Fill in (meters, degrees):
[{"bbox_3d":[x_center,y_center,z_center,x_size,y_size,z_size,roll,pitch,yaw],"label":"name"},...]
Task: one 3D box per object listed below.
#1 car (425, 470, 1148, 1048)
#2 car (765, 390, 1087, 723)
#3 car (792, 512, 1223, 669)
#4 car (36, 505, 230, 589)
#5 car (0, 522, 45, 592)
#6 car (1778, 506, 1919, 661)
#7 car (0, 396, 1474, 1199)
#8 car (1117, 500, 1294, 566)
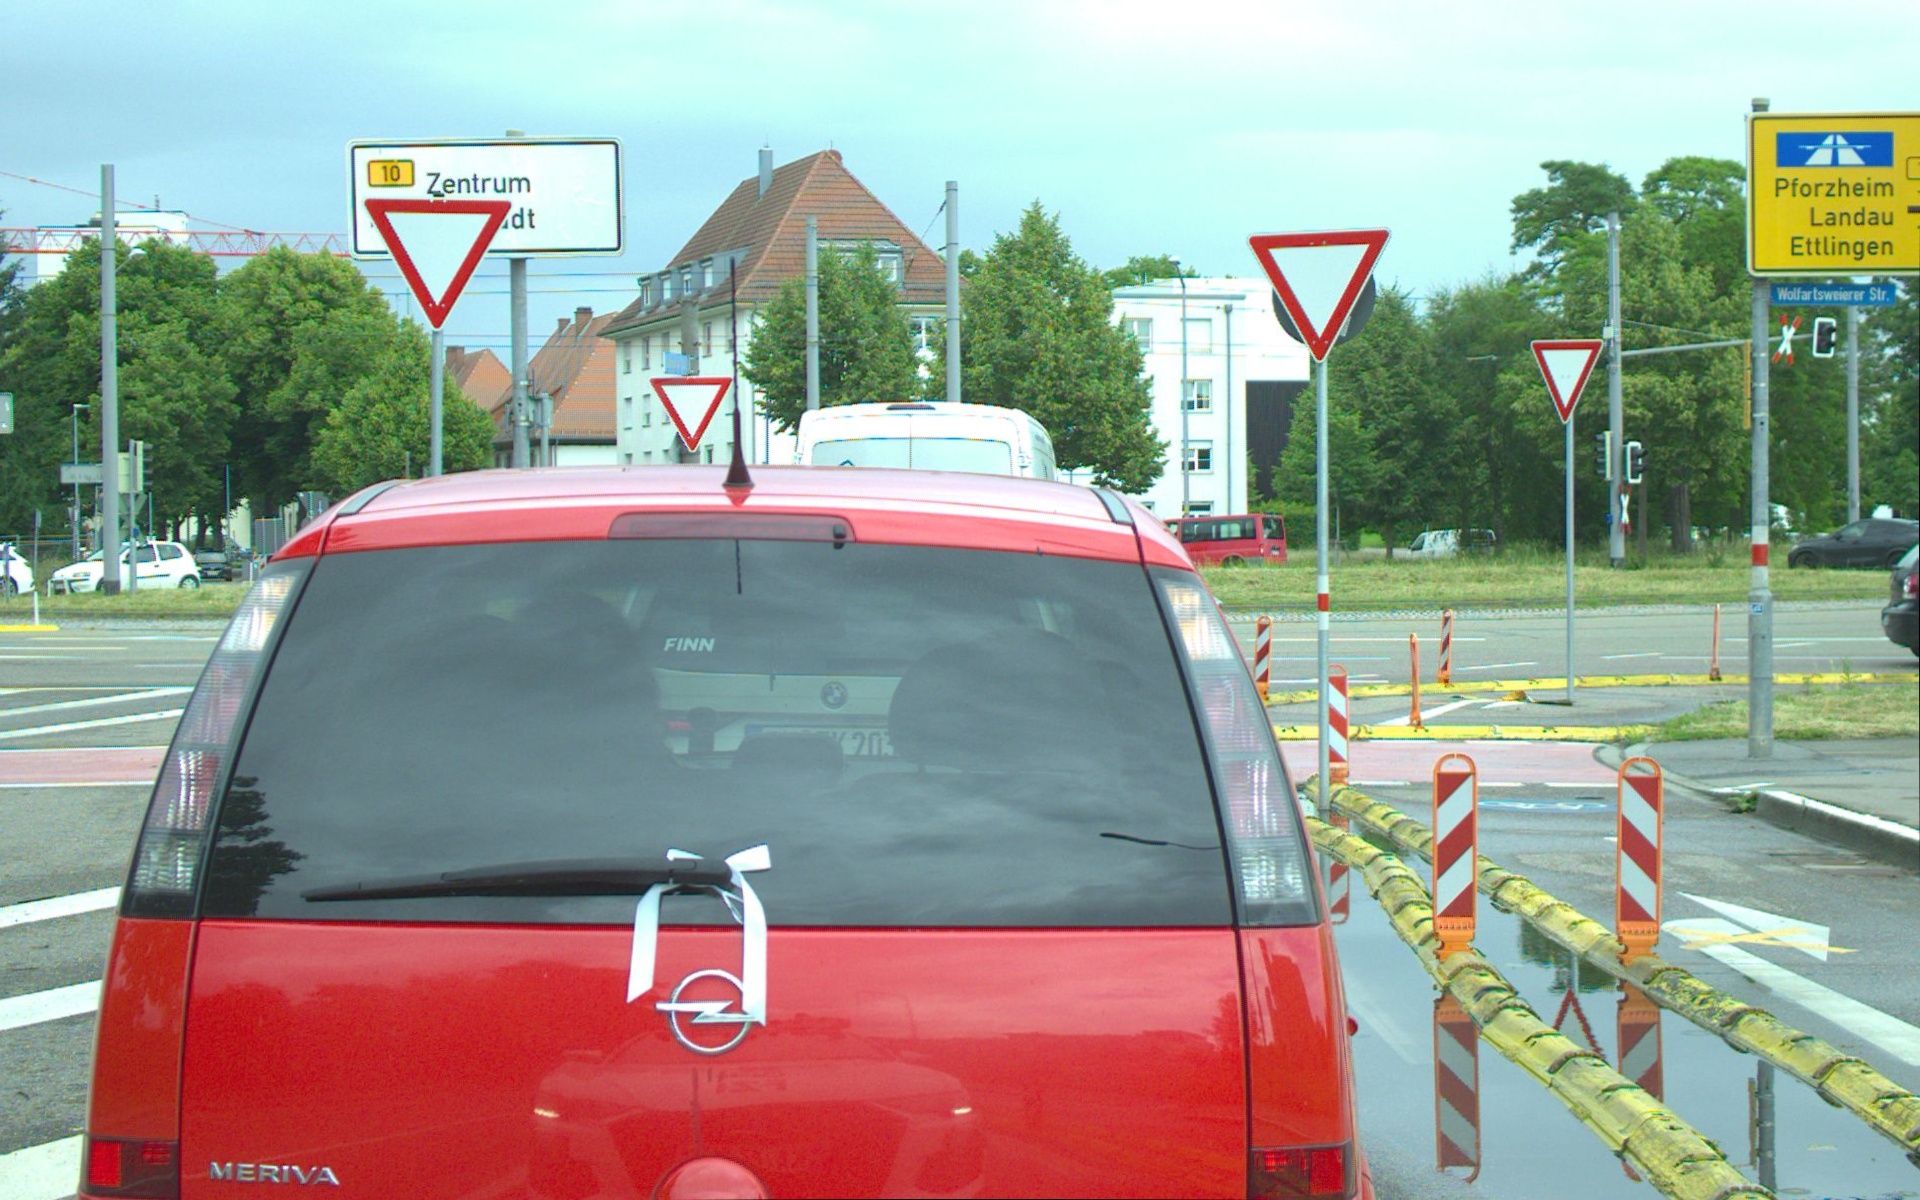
[{"bbox_3d":[-0.527,0.410,12.189,2.059,1.642,4.607,1,1,-1],"label":"car"},{"bbox_3d":[-0.175,-0.390,28.917,2.195,2.531,4.961,1,1,5],"label":"car"},{"bbox_3d":[0.560,-0.117,36.995,4.427,1.597,2.098,-1,1,7],"label":"car"},{"bbox_3d":[-20.451,-1.325,85.183,1.997,2.007,4.471,0,1,35],"label":"car"},{"bbox_3d":[-23.971,-0.982,80.574,1.997,1.629,4.666,0,1,35],"label":"car"},{"bbox_3d":[10.945,-0.199,36.296,4.429,1.597,2.098,0,1,15],"label":"car"},{"bbox_3d":[-0.320,0.570,5.490,1.673,1.635,3.627,1,1,-1],"label":"car"},{"bbox_3d":[7.342,-2.008,103.164,4.883,1.911,2.112,0,1,34],"label":"car"}]
